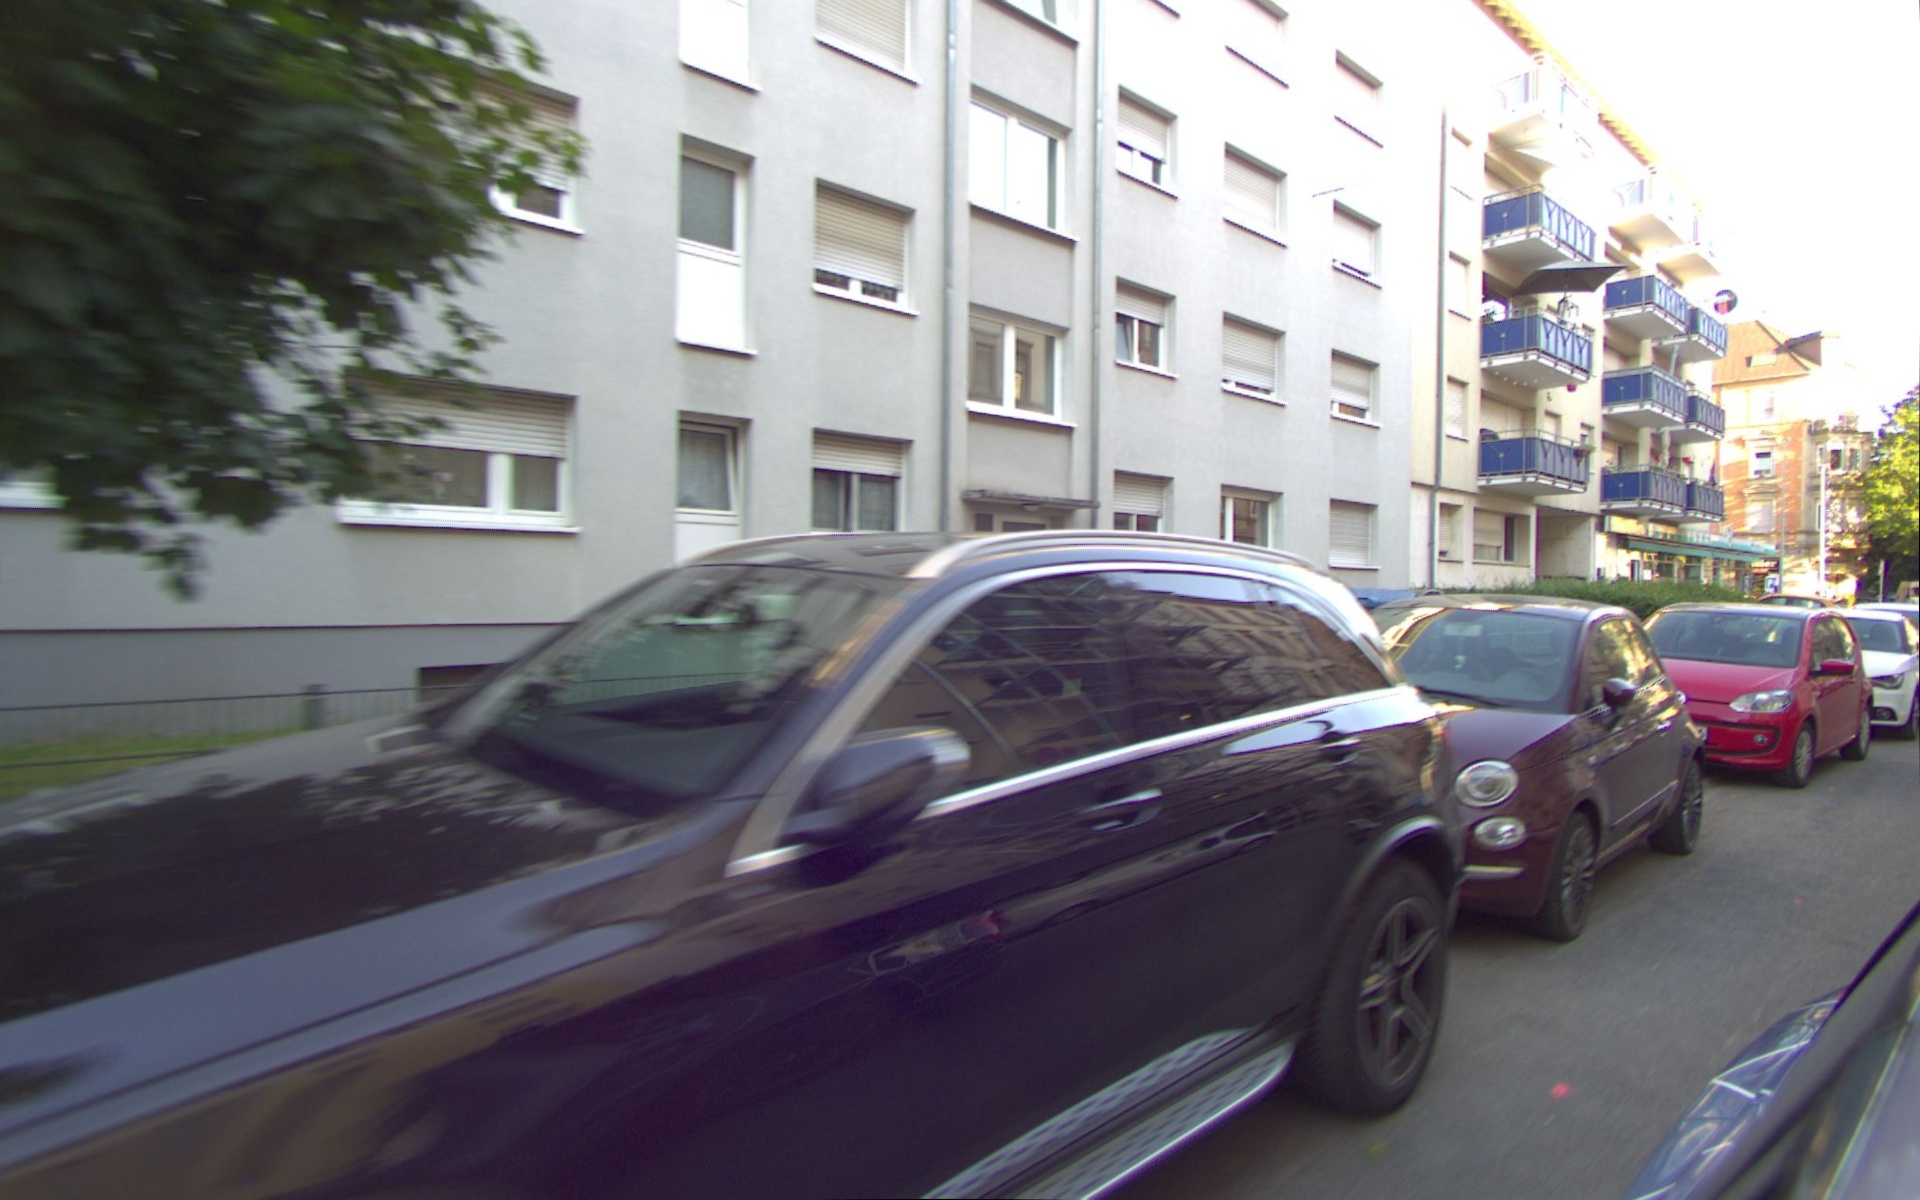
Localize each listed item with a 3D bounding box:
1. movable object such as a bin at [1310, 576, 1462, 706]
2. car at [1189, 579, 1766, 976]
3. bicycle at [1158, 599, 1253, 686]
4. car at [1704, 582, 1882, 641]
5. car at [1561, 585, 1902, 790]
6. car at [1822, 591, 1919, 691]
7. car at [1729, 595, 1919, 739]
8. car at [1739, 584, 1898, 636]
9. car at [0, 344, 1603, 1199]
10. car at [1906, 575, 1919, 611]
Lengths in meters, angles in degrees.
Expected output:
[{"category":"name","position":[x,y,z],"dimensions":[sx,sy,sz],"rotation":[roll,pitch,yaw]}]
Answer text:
[{"category":"movable object such as a bin","position":[5.175,0.449,12.304],"dimensions":[1.202,1.454,1.287],"rotation":[0,2,-41]},{"category":"car","position":[3.095,0.671,5.755],"dimensions":[3.588,1.501,1.680],"rotation":[0,2,-41]},{"category":"bicycle","position":[3.450,0.557,14.109],"dimensions":[0.599,1.104,1.716],"rotation":[3,2,38]},{"category":"car","position":[25.639,0.302,31.248],"dimensions":[1.966,1.584,3.993],"rotation":[0,3,-42]},{"category":"car","position":[7.289,0.647,9.460],"dimensions":[3.586,1.501,1.681],"rotation":[0,2,-39]},{"category":"car","position":[15.597,0.607,16.570],"dimensions":[4.064,1.437,1.679],"rotation":[0,3,-42]},{"category":"car","position":[11.073,0.688,12.502],"dimensions":[4.064,1.437,1.680],"rotation":[0,2,-41]},{"category":"car","position":[29.934,0.295,35.363],"dimensions":[1.966,1.584,3.993],"rotation":[0,3,-42]},{"category":"car","position":[-0.163,0.565,2.676],"dimensions":[4.640,1.655,1.875],"rotation":[0,2,-41]},{"category":"car","position":[63.756,-0.413,66.002],"dimensions":[2.149,2.311,6.130],"rotation":[3,2,35]}]
